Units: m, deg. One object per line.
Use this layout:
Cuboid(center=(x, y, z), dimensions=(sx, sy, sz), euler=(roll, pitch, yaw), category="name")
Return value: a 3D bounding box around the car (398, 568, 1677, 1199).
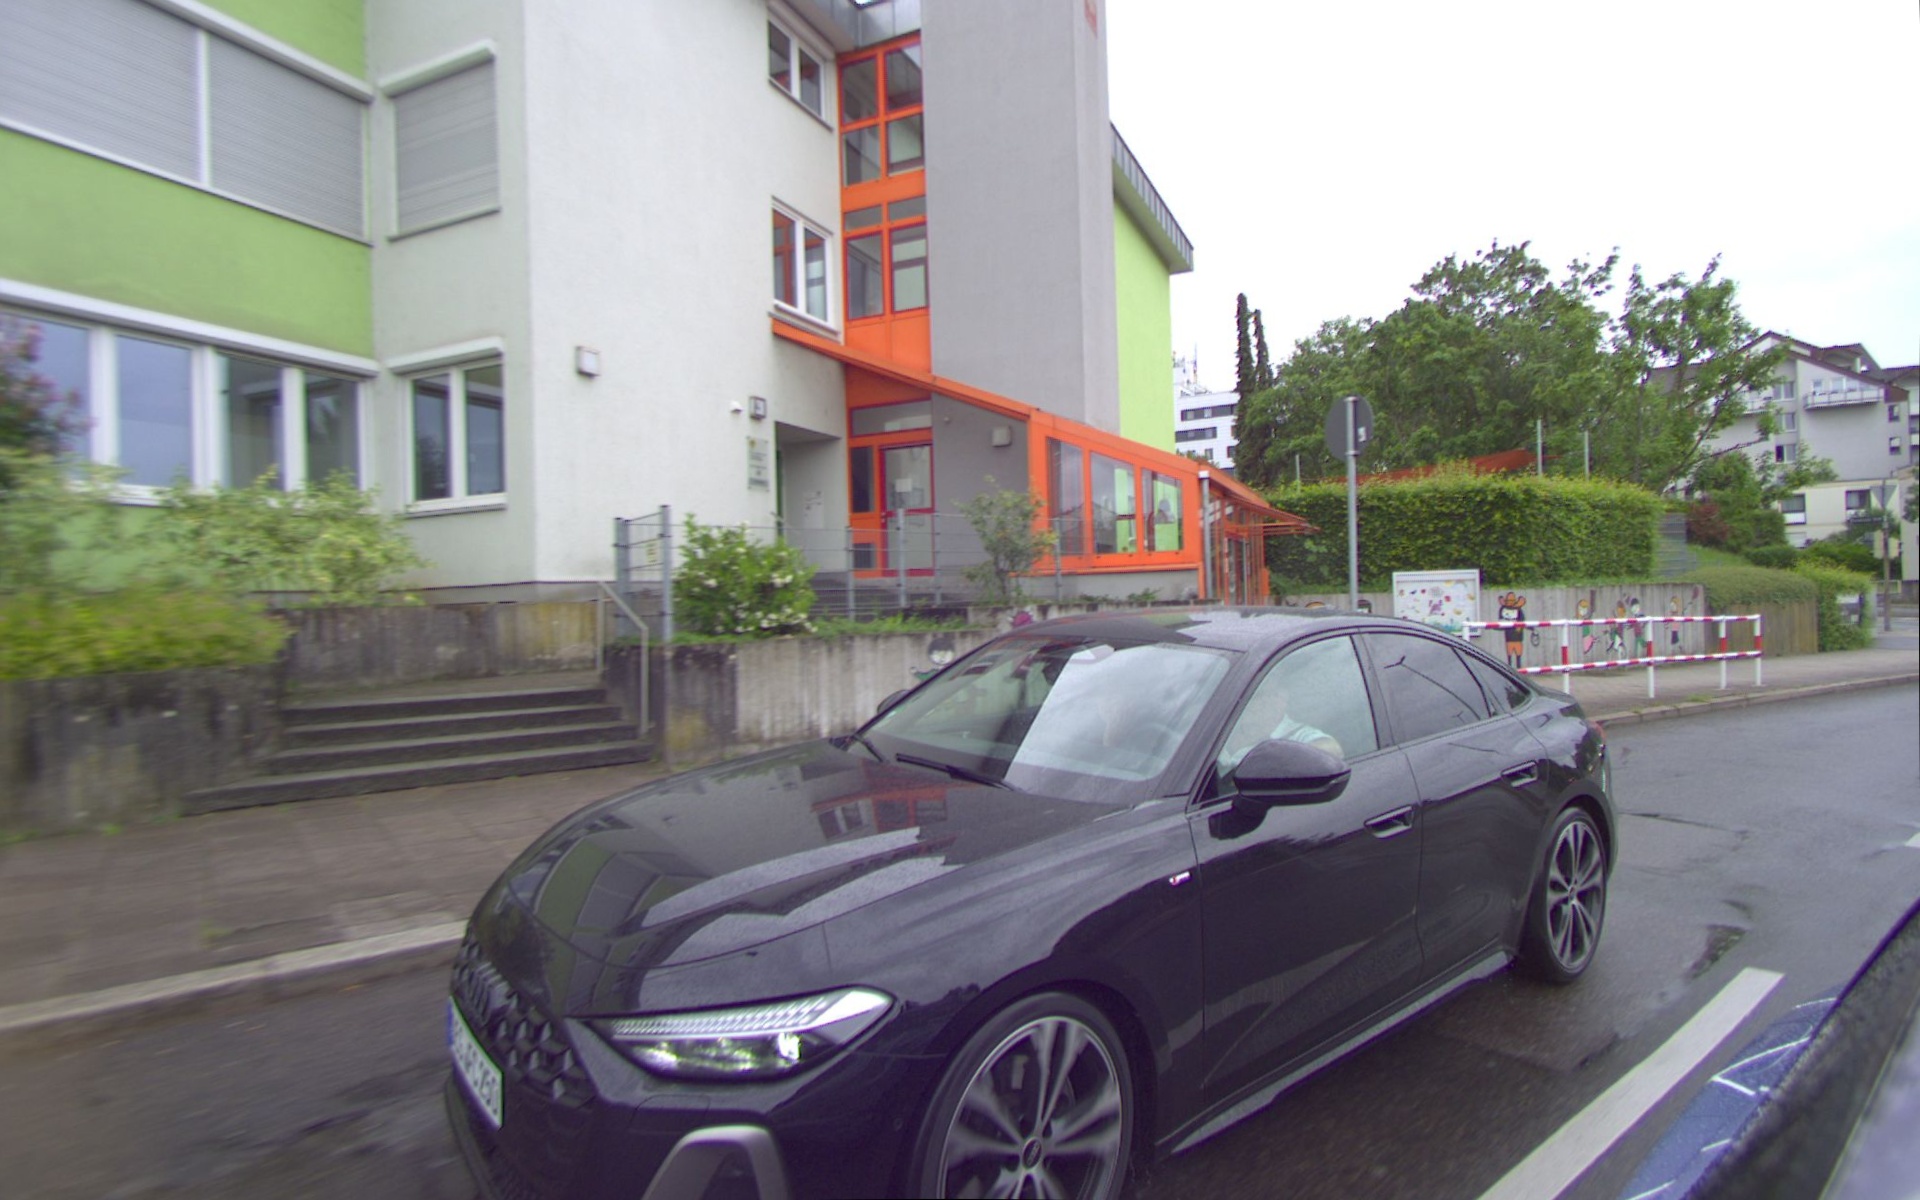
Cuboid(center=(0.774, 0.697, 3.701), dimensions=(4.656, 1.442, 1.869), euler=(-3, 1, -40), category="car")
